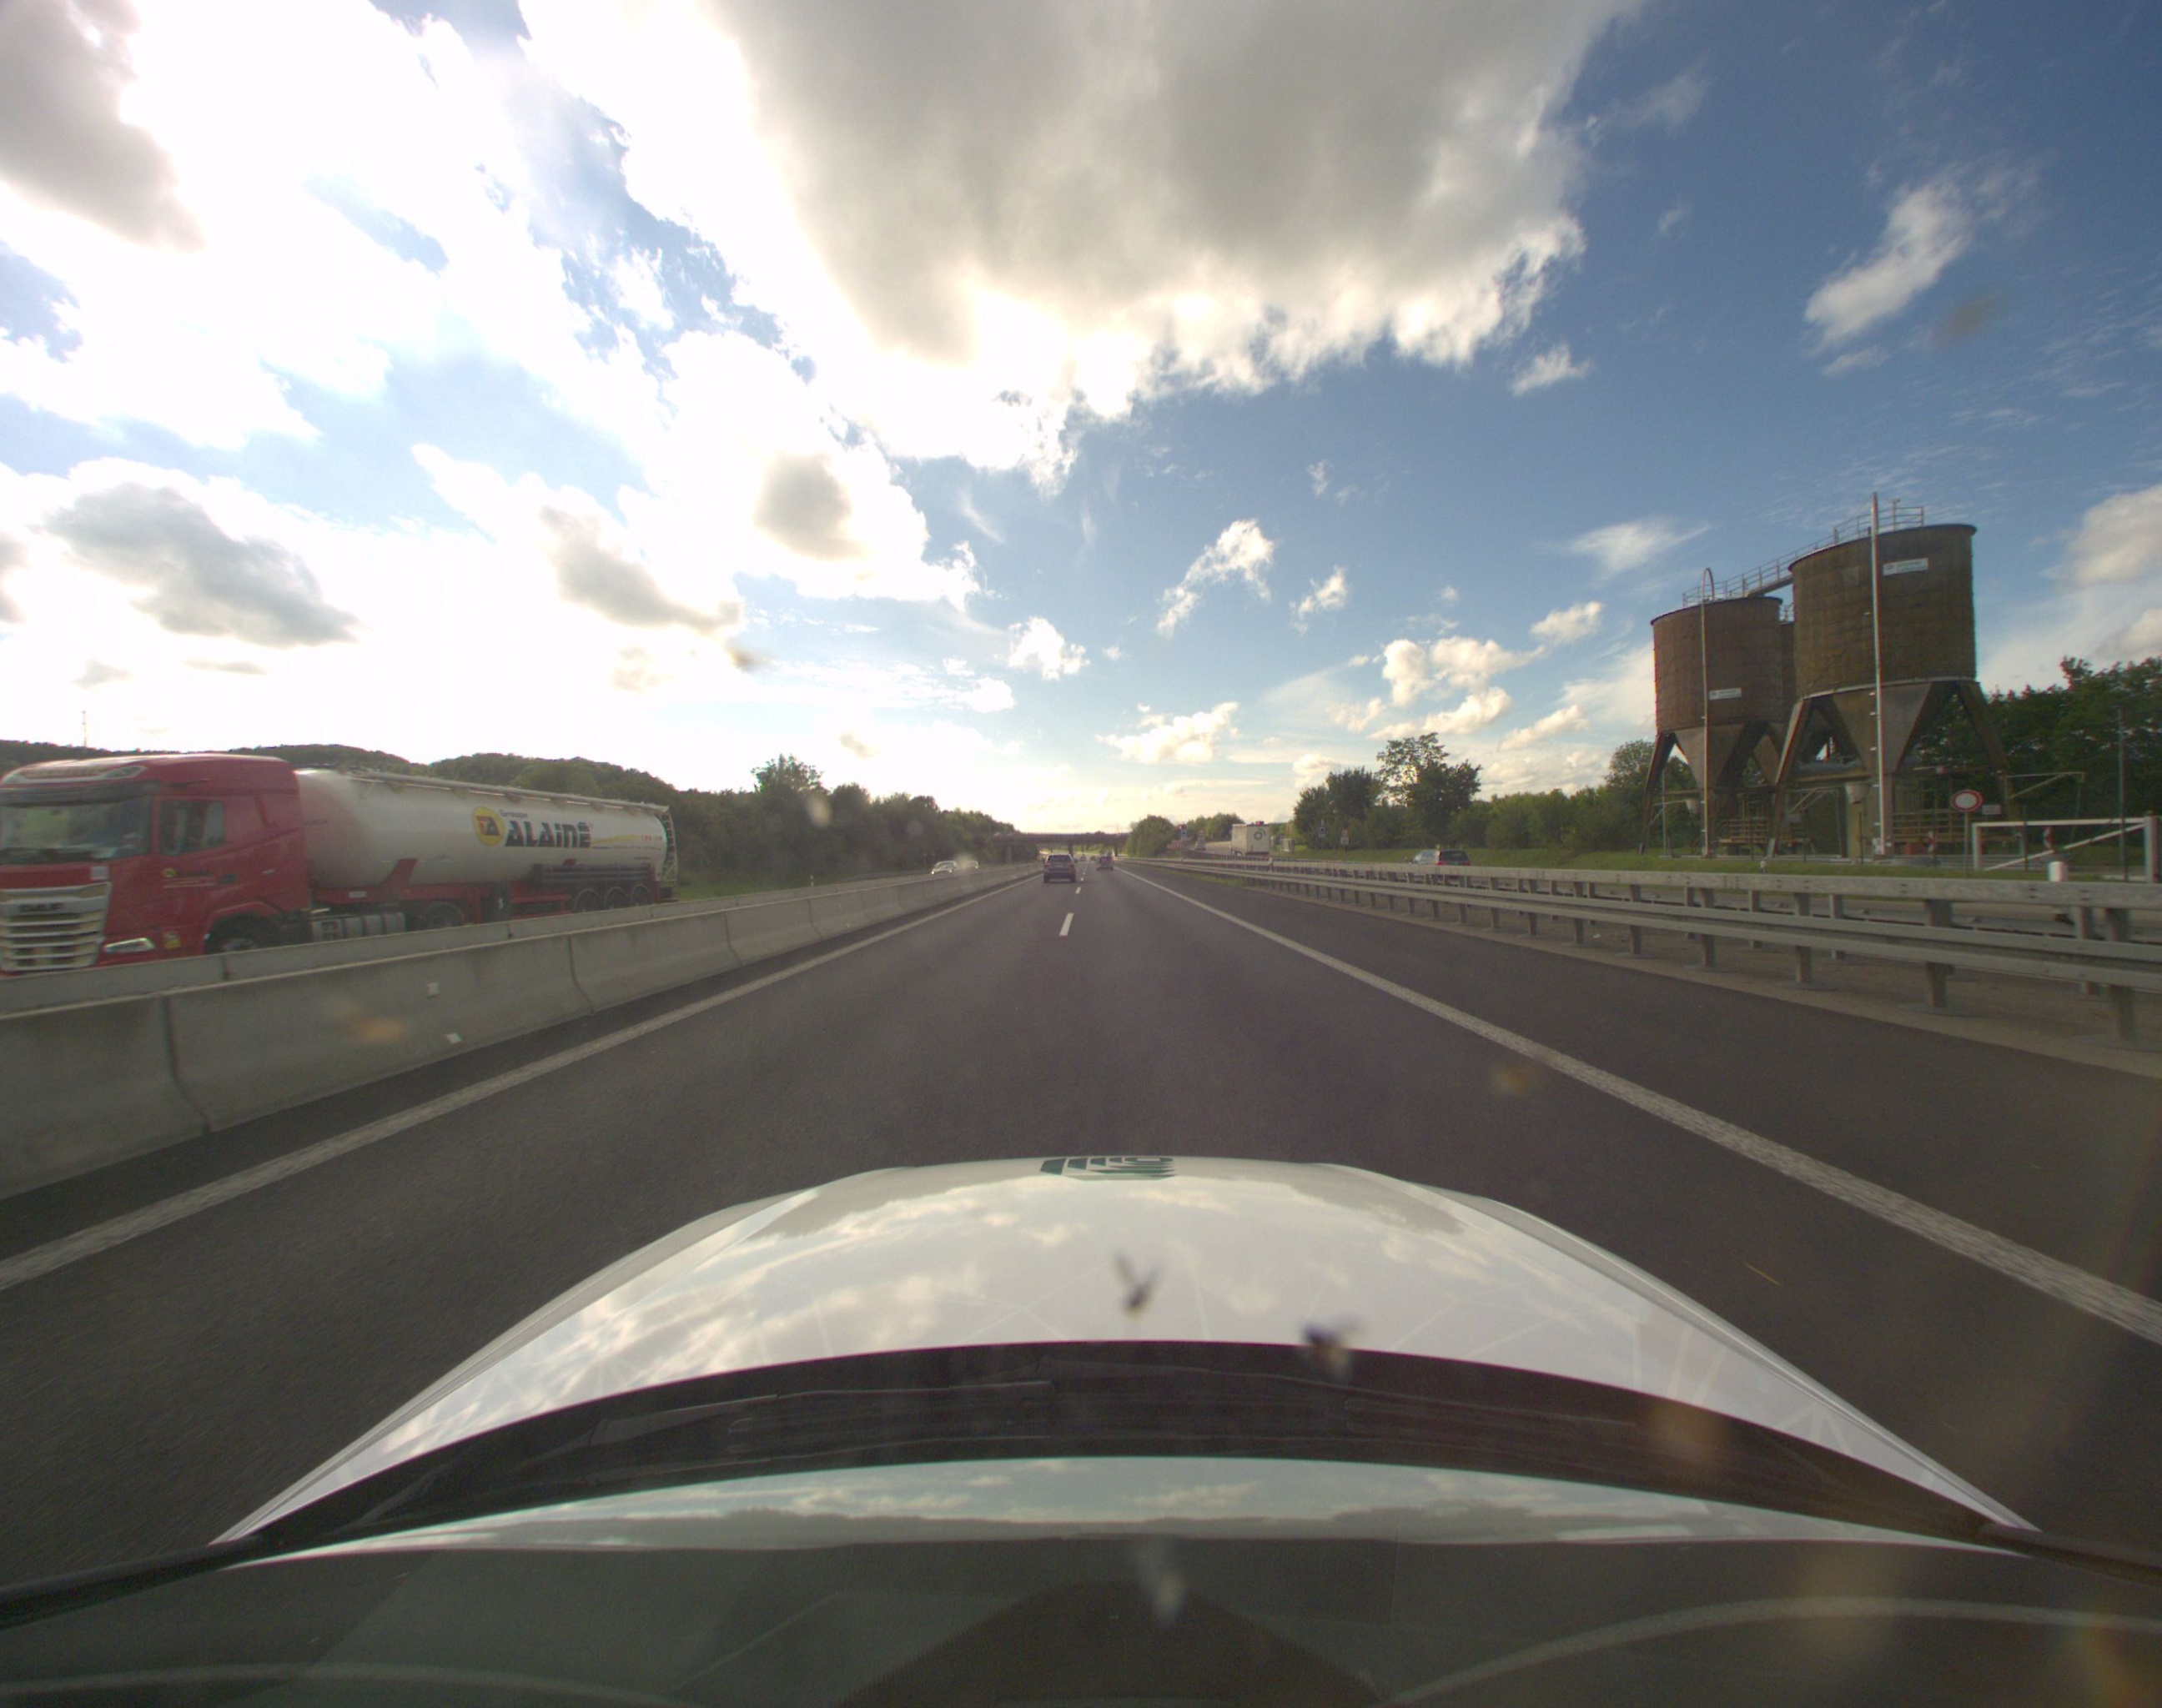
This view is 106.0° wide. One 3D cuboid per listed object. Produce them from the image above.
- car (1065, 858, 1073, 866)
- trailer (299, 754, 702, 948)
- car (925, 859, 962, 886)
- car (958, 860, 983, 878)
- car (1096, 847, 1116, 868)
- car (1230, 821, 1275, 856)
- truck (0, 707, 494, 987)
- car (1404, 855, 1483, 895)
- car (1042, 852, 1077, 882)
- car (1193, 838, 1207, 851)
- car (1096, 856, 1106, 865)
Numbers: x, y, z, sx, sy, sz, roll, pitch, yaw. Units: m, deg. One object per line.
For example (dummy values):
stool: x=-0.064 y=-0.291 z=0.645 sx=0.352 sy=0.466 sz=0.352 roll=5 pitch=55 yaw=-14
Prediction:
car: x=-3.359 y=2.213 z=232.587 sx=1.987 sy=2.013 sz=4.000 roll=-3 pitch=0 yaw=0
trailer: x=-14.689 y=-0.038 z=22.538 sx=2.703 sy=3.887 sz=11.164 roll=-3 pitch=0 yaw=2
car: x=-10.127 y=1.360 z=60.371 sx=1.801 sy=1.832 sz=4.398 roll=-3 pitch=0 yaw=2
car: x=-11.963 y=1.590 z=88.218 sx=1.987 sy=1.717 sz=4.000 roll=-3 pitch=0 yaw=1
car: x=2.615 y=0.417 z=86.661 sx=1.987 sy=2.081 sz=4.000 roll=-3 pitch=0 yaw=1
car: x=19.525 y=-1.702 z=93.249 sx=3.564 sy=3.676 sz=7.549 roll=-3 pitch=0 yaw=1
truck: x=-14.928 y=-0.068 z=15.134 sx=2.727 sy=3.924 sz=6.903 roll=-3 pitch=0 yaw=2
car: x=17.323 y=0.976 z=39.118 sx=1.987 sy=1.717 sz=4.000 roll=-3 pitch=0 yaw=1
car: x=-1.217 y=0.733 z=48.291 sx=1.743 sy=1.630 sz=3.610 roll=-3 pitch=0 yaw=2
car: x=19.818 y=-1.590 z=135.744 sx=1.984 sy=2.013 sz=4.005 roll=-3 pitch=0 yaw=5
car: x=4.244 y=1.298 z=171.753 sx=1.968 sy=1.779 sz=4.120 roll=-3 pitch=0 yaw=1
